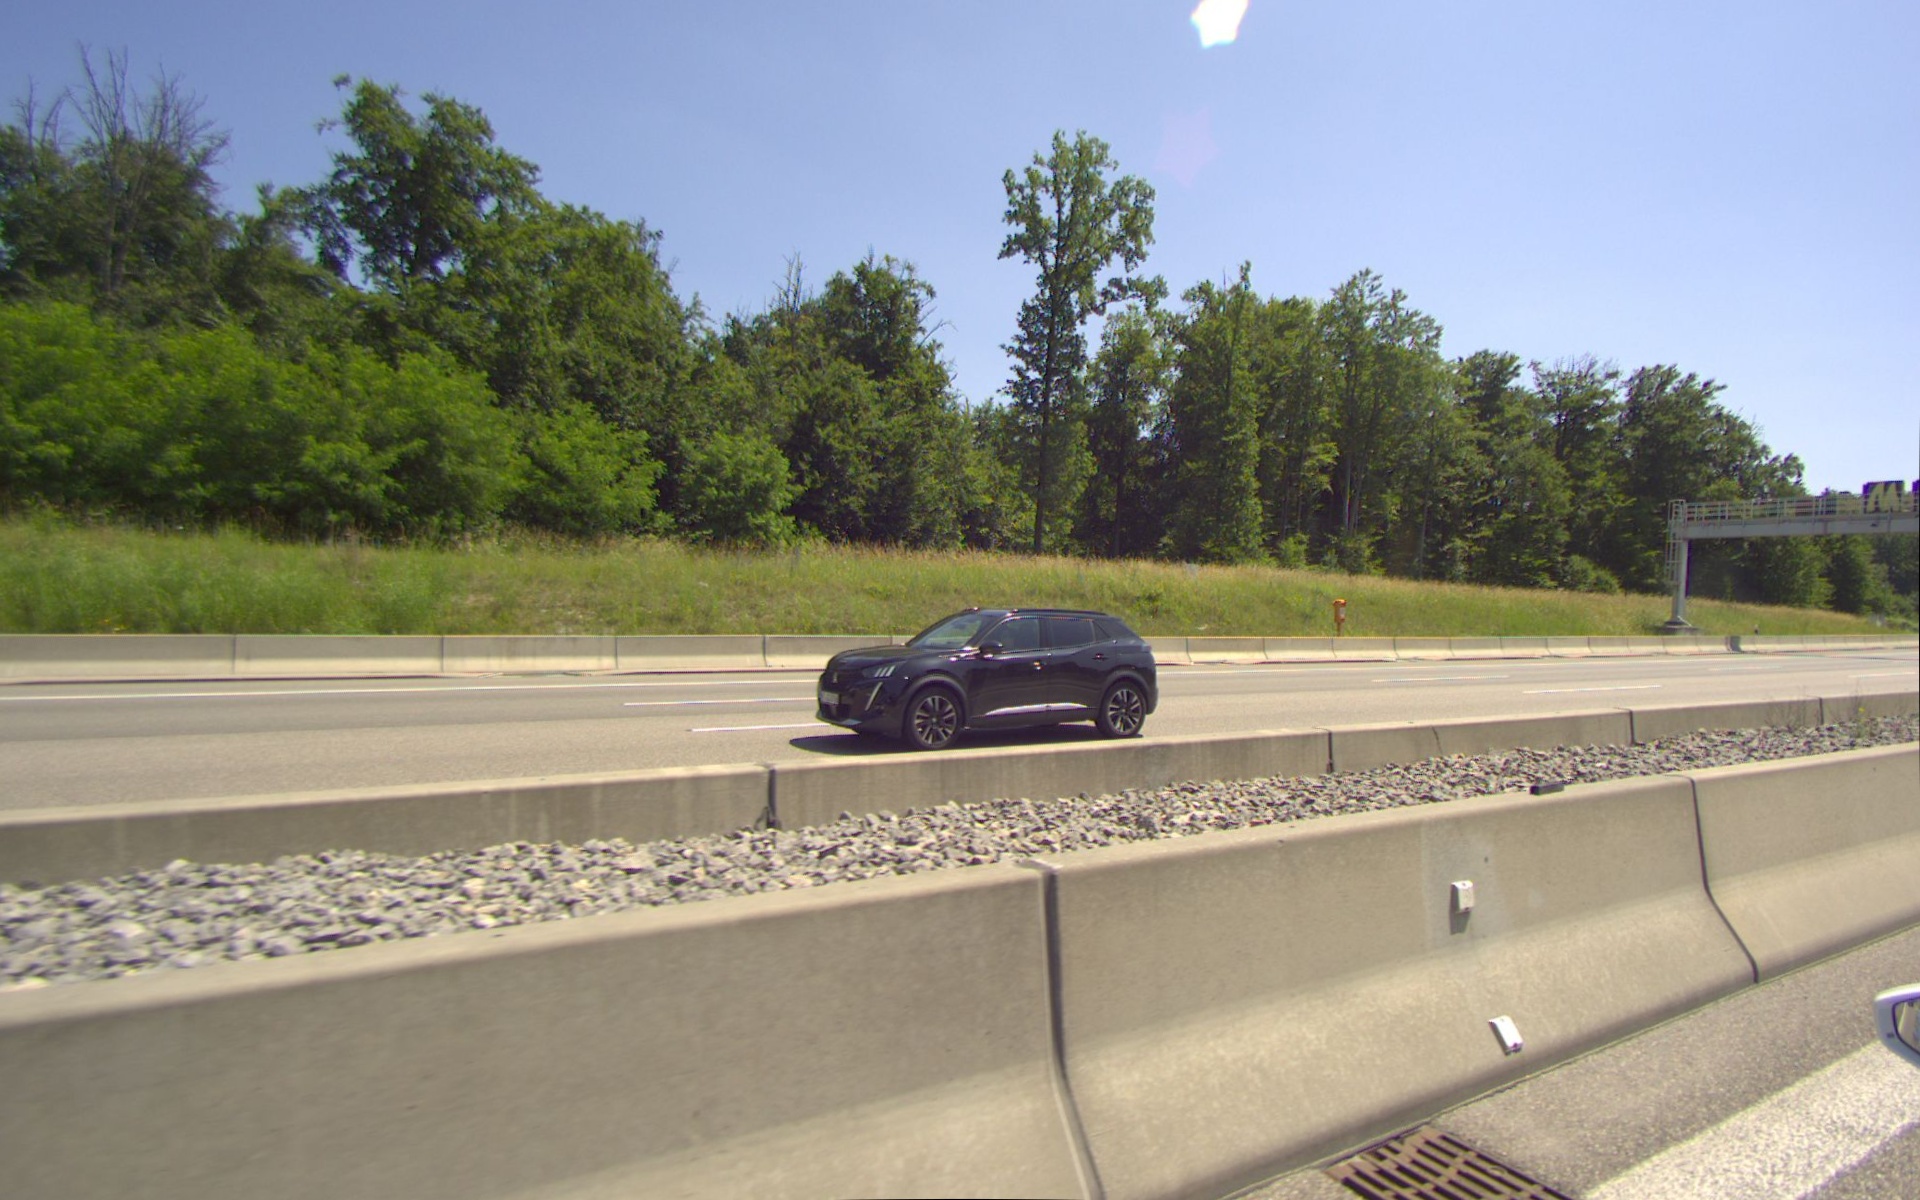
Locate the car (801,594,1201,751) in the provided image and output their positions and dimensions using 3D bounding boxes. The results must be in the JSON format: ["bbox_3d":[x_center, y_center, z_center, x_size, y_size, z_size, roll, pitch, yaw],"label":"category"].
[{"bbox_3d":[0.575,0.797,11.906,4.558,1.546,1.666,2,0,-31],"label":"car"}]
